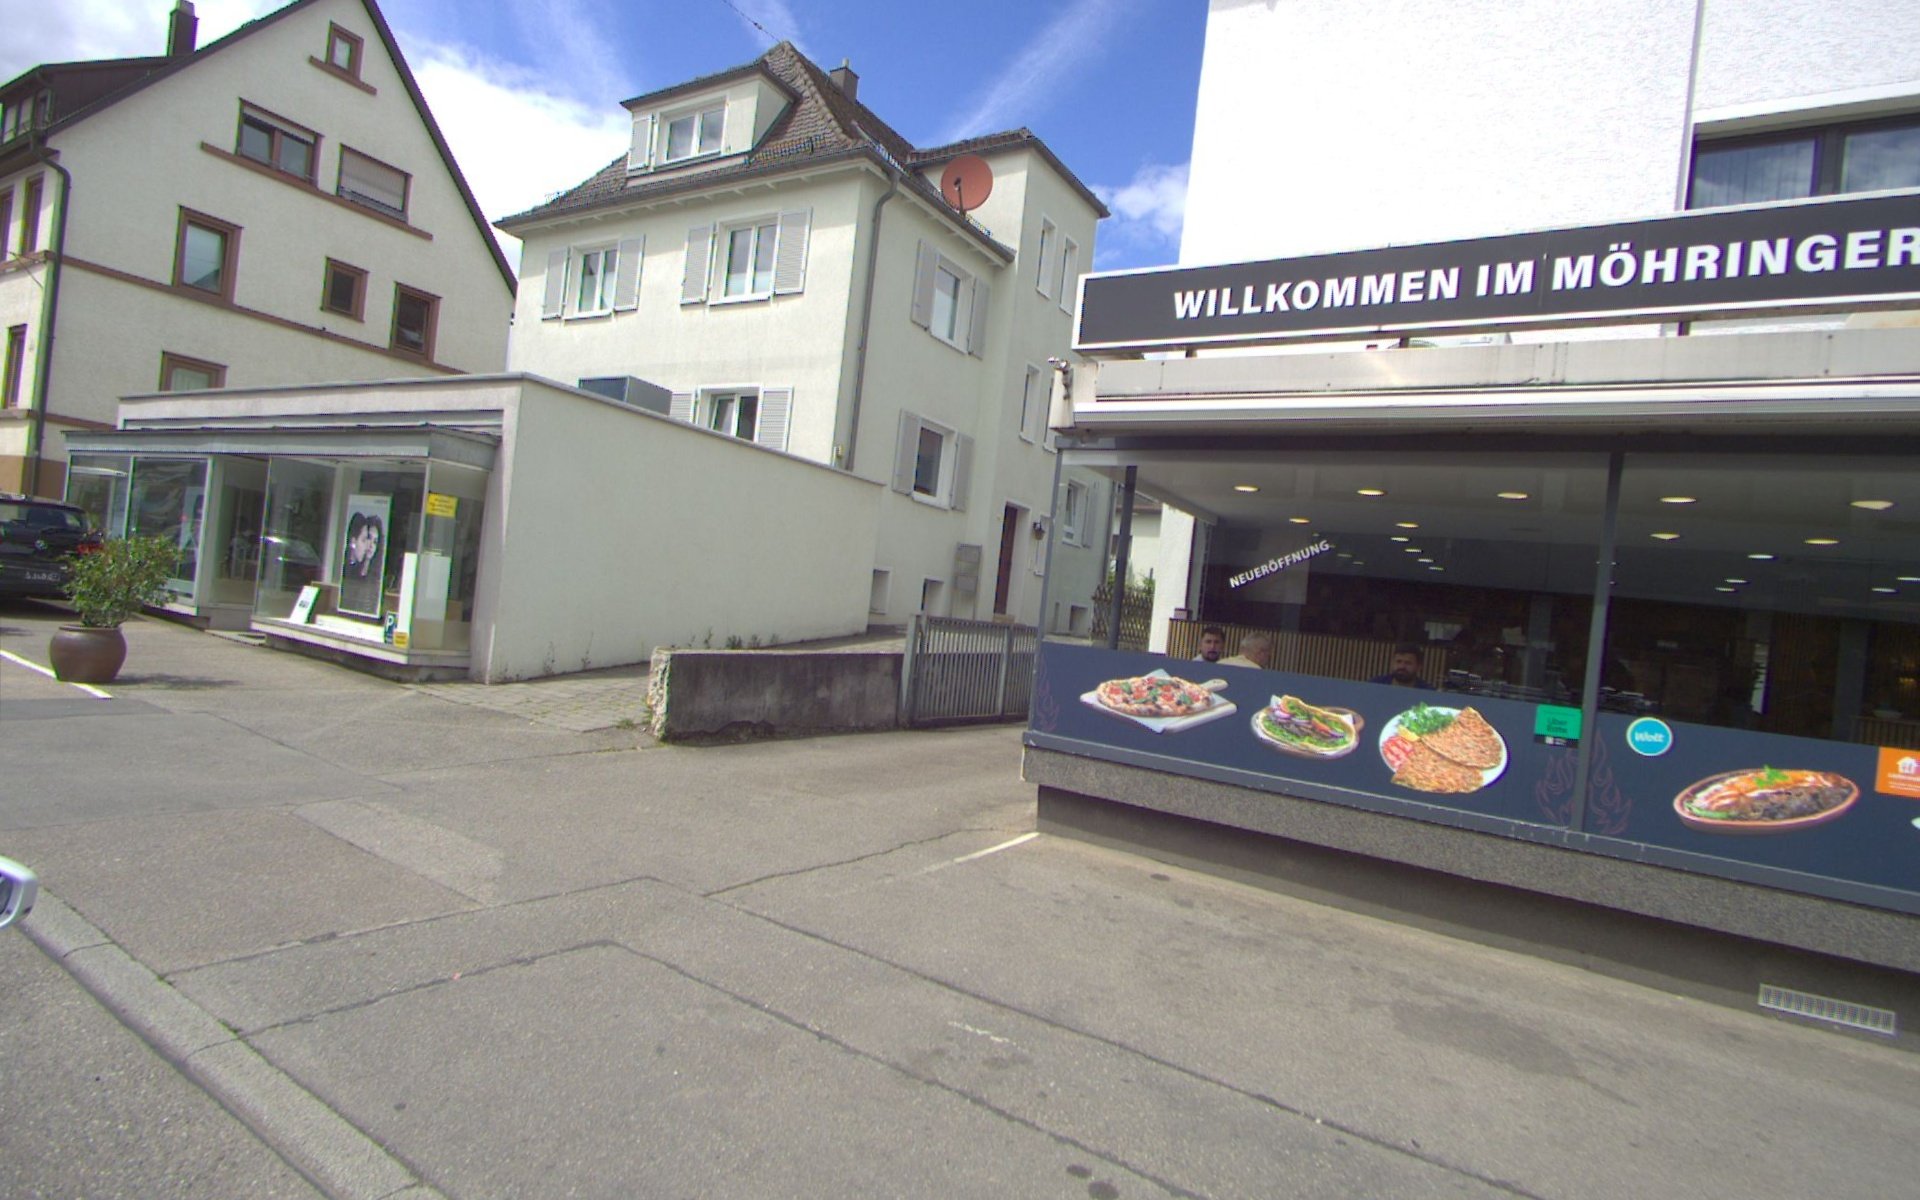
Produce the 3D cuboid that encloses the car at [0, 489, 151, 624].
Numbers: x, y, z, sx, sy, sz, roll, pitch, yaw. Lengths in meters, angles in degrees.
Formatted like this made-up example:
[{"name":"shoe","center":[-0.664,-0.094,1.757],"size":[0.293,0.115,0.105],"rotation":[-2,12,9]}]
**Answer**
[{"name":"car","center":[-12.643,-0.715,12.967],"size":[4.460,1.465,1.970],"rotation":[7,0,31]}]
